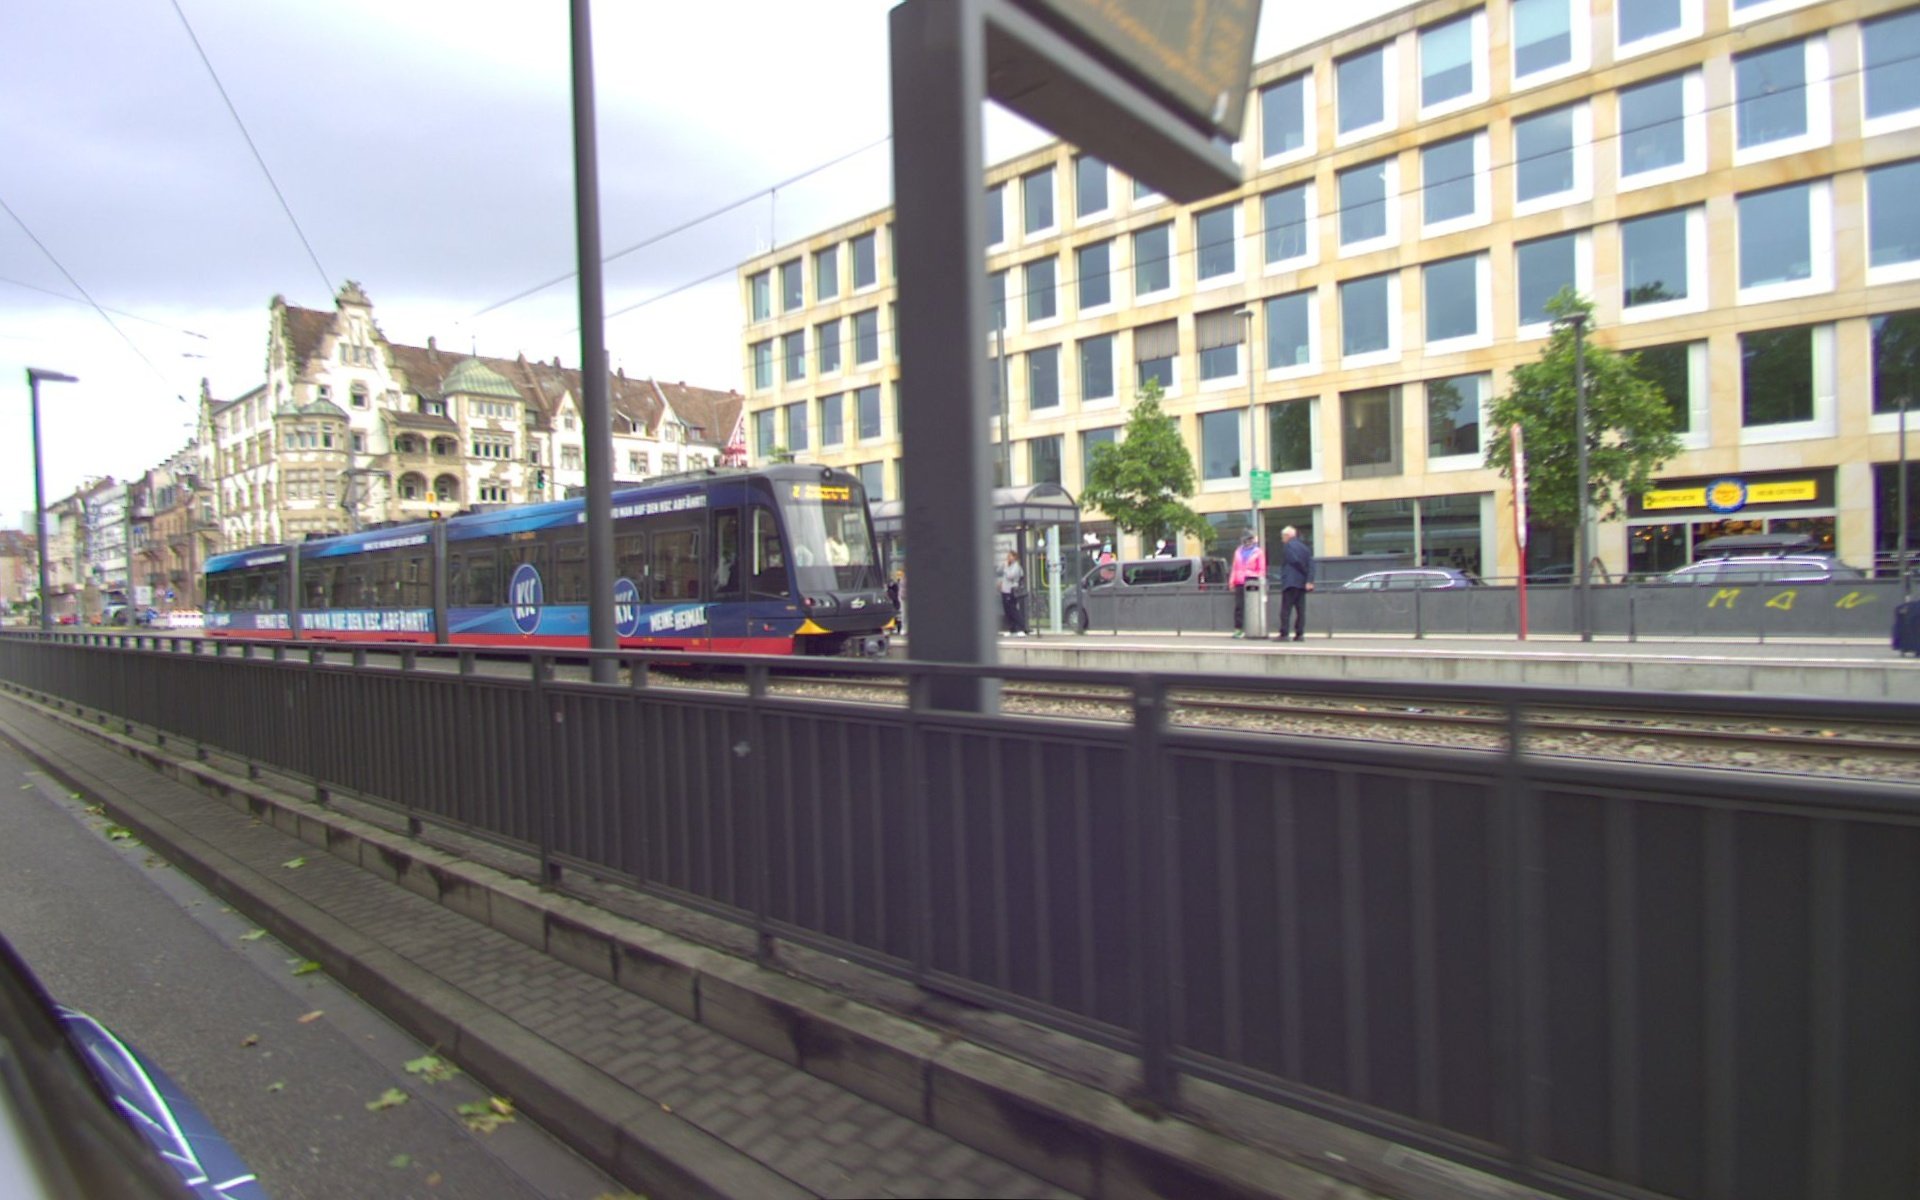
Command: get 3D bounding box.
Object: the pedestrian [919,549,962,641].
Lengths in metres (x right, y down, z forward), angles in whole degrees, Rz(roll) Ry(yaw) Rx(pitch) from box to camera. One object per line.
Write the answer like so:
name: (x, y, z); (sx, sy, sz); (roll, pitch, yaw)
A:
pedestrian: (-0.387, -0.111, 20.005); (0.588, 1.782, 0.589); (-2, 1, -42)

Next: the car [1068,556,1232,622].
car: (5.183, -0.306, 27.852); (4.001, 1.674, 1.972); (0, 1, 44)

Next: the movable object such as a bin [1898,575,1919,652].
movable object such as a bin: (9.777, 0.130, 10.164); (0.529, 0.753, 0.469); (-2, 1, -42)

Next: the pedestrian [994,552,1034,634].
pedestrian: (1.070, -0.142, 20.043); (0.593, 1.599, 0.584); (-1, 1, 23)

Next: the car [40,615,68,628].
car: (-116.252, 2.776, 129.888); (3.995, 1.608, 1.974); (-1, 1, 38)

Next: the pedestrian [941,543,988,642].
pedestrian: (0.085, -0.143, 18.731); (0.588, 1.782, 0.589); (-2, 1, -42)

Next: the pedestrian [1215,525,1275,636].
pedestrian: (4.959, -0.337, 17.610); (0.690, 1.868, 0.721); (-2, 1, -42)

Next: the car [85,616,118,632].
car: (-92.919, 2.593, 109.541); (3.995, 1.608, 1.974); (-1, 1, 38)

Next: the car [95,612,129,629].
car: (-87.955, 2.114, 104.949); (3.995, 1.608, 1.974); (-1, 1, 38)

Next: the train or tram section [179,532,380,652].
train or tram section: (-24.394, -0.246, 35.892); (11.758, 3.667, 2.826); (0, 1, 41)

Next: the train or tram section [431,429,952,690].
train or tram section: (-6.165, -0.575, 19.987); (13.514, 3.719, 2.825); (0, 1, 41)

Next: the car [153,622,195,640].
car: (-68.531, 2.675, 88.235); (3.995, 1.453, 1.974); (-1, 1, 38)

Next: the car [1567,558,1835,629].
car: (14.293, -0.127, 19.644); (4.001, 1.236, 1.876); (0, 1, 44)

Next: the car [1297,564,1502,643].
car: (10.261, 0.066, 23.785); (4.001, 1.674, 1.972); (0, 1, 44)

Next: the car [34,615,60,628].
car: (-120.973, 2.821, 134.069); (3.995, 1.608, 1.974); (-1, 1, 38)

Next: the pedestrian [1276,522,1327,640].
pedestrian: (5.277, -0.293, 15.670); (0.590, 1.782, 0.588); (-1, 1, 4)

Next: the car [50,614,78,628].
car: (-111.581, 2.624, 126.040); (3.995, 1.608, 1.974); (-1, 1, 38)

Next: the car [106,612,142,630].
car: (-83.093, 2.077, 100.609); (3.995, 1.608, 1.974); (-1, 1, 38)

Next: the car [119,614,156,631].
car: (-78.465, 2.117, 96.536); (3.995, 1.453, 1.974); (-1, 1, 38)

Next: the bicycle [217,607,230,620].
bicycle: (-60.541, 1.135, 83.161); (0.697, 1.044, 2.028); (-3, 0, -32)

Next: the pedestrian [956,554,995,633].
pedestrian: (0.329, -0.136, 20.708); (0.593, 1.599, 0.584); (-1, 1, 23)

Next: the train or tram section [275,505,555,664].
train or tram section: (-15.599, -0.365, 28.262); (11.692, 3.667, 2.826); (0, 1, 41)
